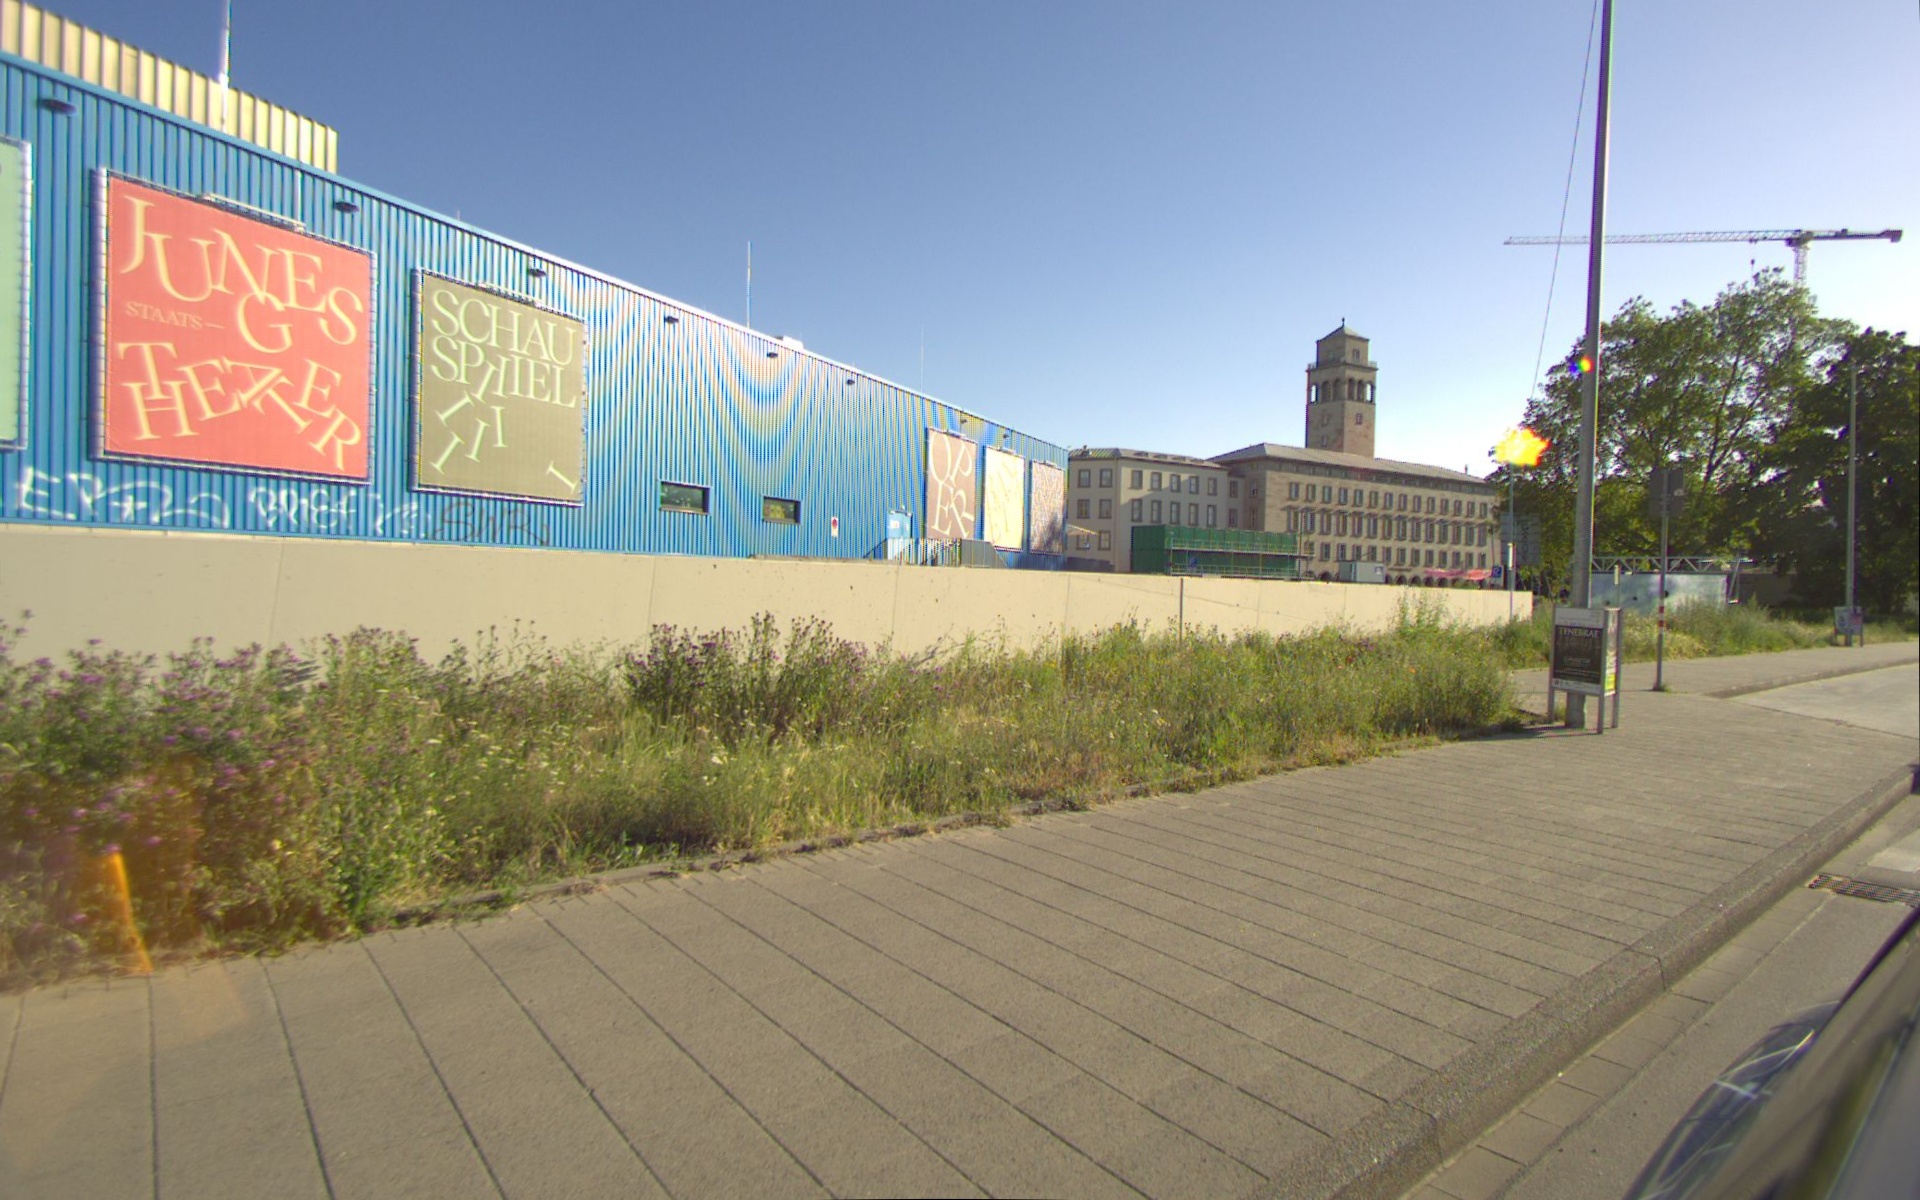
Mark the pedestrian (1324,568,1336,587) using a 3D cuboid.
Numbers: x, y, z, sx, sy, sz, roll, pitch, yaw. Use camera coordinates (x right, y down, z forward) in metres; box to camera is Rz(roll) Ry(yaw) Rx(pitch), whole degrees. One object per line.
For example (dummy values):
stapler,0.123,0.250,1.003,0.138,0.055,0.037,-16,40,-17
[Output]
pedestrian,25.541,-1.554,69.883,0.432,1.312,0.574,-1,-1,-23
